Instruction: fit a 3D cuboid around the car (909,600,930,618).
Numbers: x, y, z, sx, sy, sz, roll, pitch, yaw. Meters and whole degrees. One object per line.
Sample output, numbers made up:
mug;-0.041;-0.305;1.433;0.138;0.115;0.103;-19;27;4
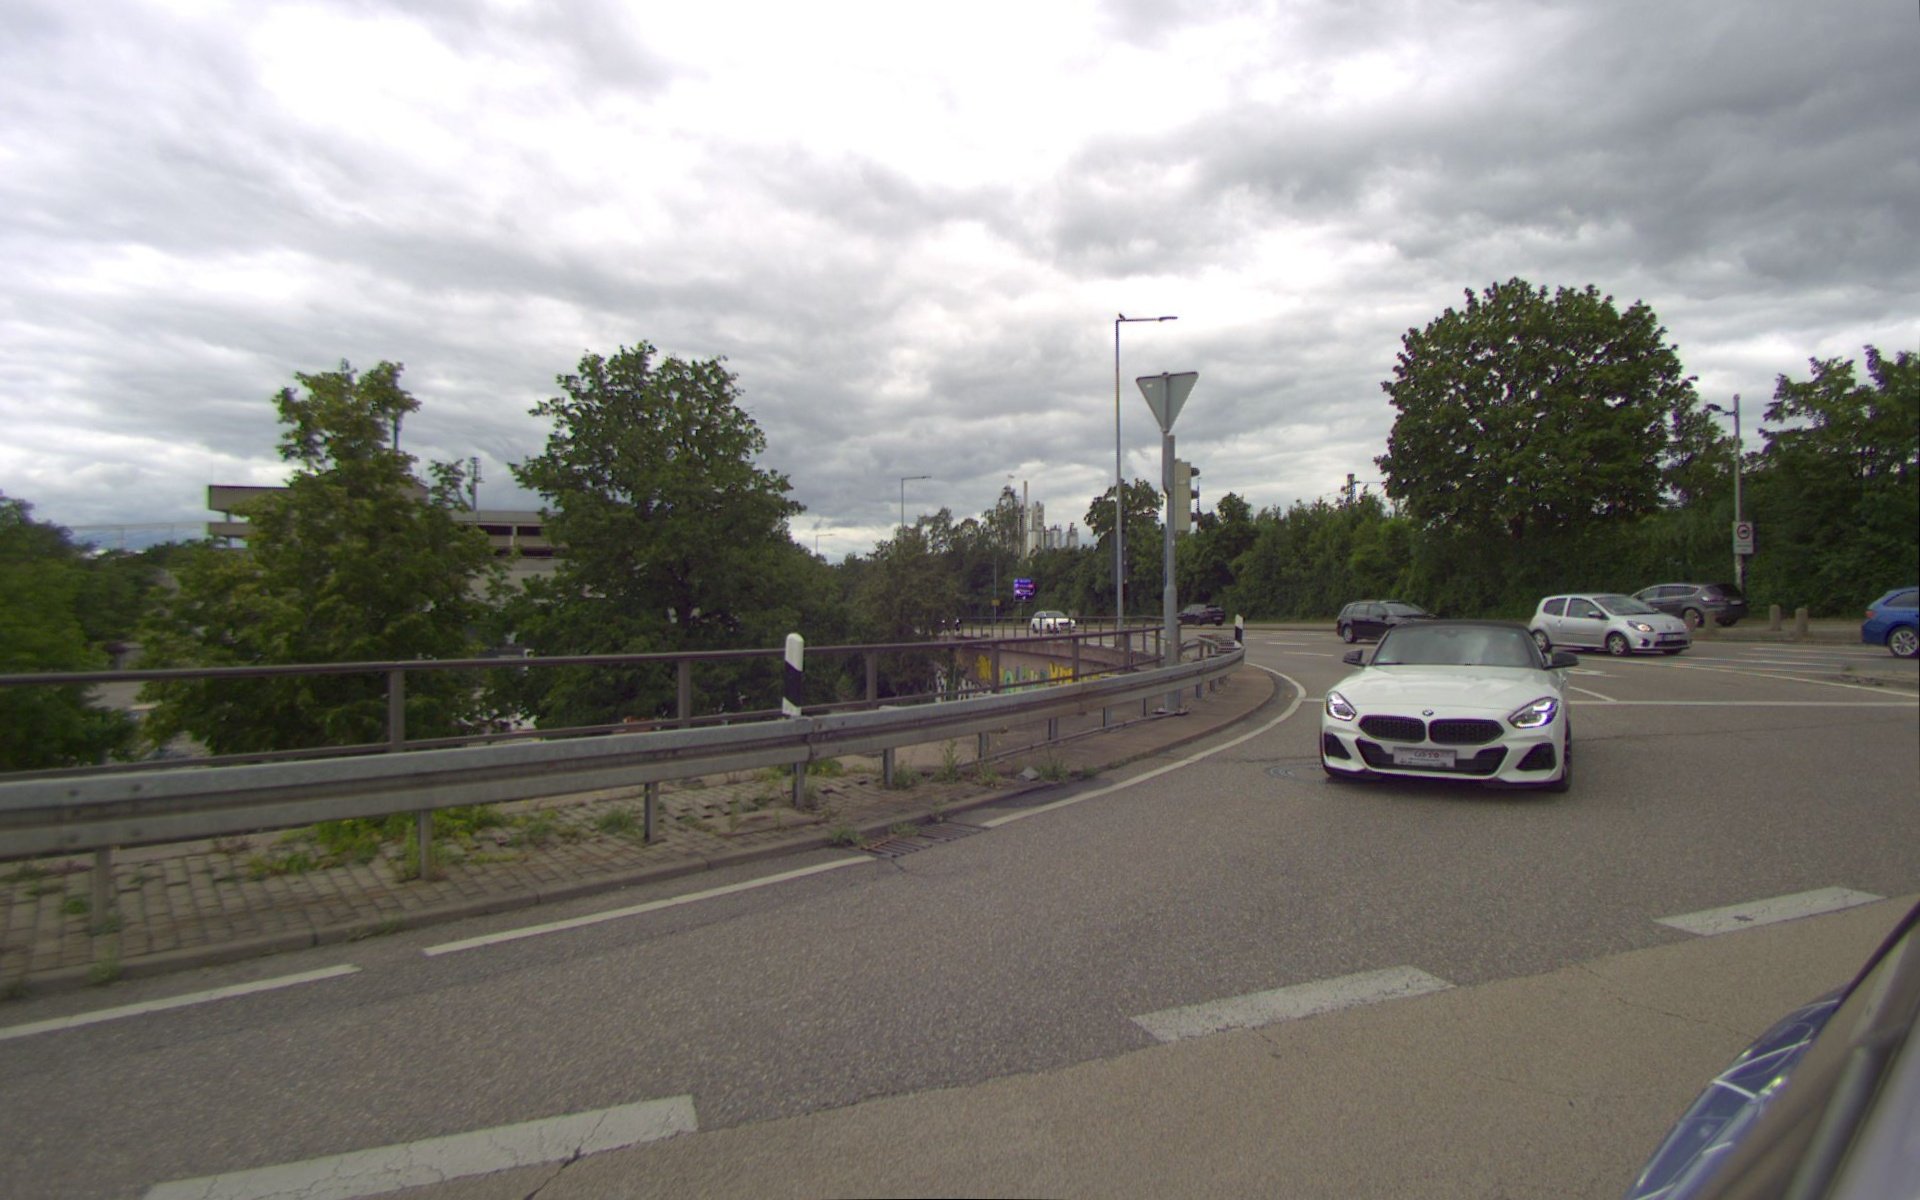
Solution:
car;-4.853;1.049;121.805;1.615;2.039;3.607;-1;0;-18

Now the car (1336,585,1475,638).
car;14.469;0.393;33.162;1.907;1.576;4.302;-2;-1;-13

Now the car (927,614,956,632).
car;-1.686;2.049;91.703;1.615;1.580;3.657;-1;-1;-16

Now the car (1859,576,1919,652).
car;19.632;0.233;18.635;1.577;1.472;4.549;-2;0;-10

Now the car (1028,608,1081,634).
car;6.166;1.369;66.555;1.838;1.580;4.724;-2;-1;-16

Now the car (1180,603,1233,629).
car;15.913;1.036;65.520;1.615;1.580;3.851;-2;-1;-15

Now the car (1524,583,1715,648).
car;15.647;0.375;24.258;1.595;1.391;3.755;-2;-1;-11

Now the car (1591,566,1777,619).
car;26.808;-0.210;37.782;2.089;1.778;5.502;-2;-1;-15

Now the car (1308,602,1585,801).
car;4.859;0.747;9.673;1.849;1.362;4.770;-2;-1;32
